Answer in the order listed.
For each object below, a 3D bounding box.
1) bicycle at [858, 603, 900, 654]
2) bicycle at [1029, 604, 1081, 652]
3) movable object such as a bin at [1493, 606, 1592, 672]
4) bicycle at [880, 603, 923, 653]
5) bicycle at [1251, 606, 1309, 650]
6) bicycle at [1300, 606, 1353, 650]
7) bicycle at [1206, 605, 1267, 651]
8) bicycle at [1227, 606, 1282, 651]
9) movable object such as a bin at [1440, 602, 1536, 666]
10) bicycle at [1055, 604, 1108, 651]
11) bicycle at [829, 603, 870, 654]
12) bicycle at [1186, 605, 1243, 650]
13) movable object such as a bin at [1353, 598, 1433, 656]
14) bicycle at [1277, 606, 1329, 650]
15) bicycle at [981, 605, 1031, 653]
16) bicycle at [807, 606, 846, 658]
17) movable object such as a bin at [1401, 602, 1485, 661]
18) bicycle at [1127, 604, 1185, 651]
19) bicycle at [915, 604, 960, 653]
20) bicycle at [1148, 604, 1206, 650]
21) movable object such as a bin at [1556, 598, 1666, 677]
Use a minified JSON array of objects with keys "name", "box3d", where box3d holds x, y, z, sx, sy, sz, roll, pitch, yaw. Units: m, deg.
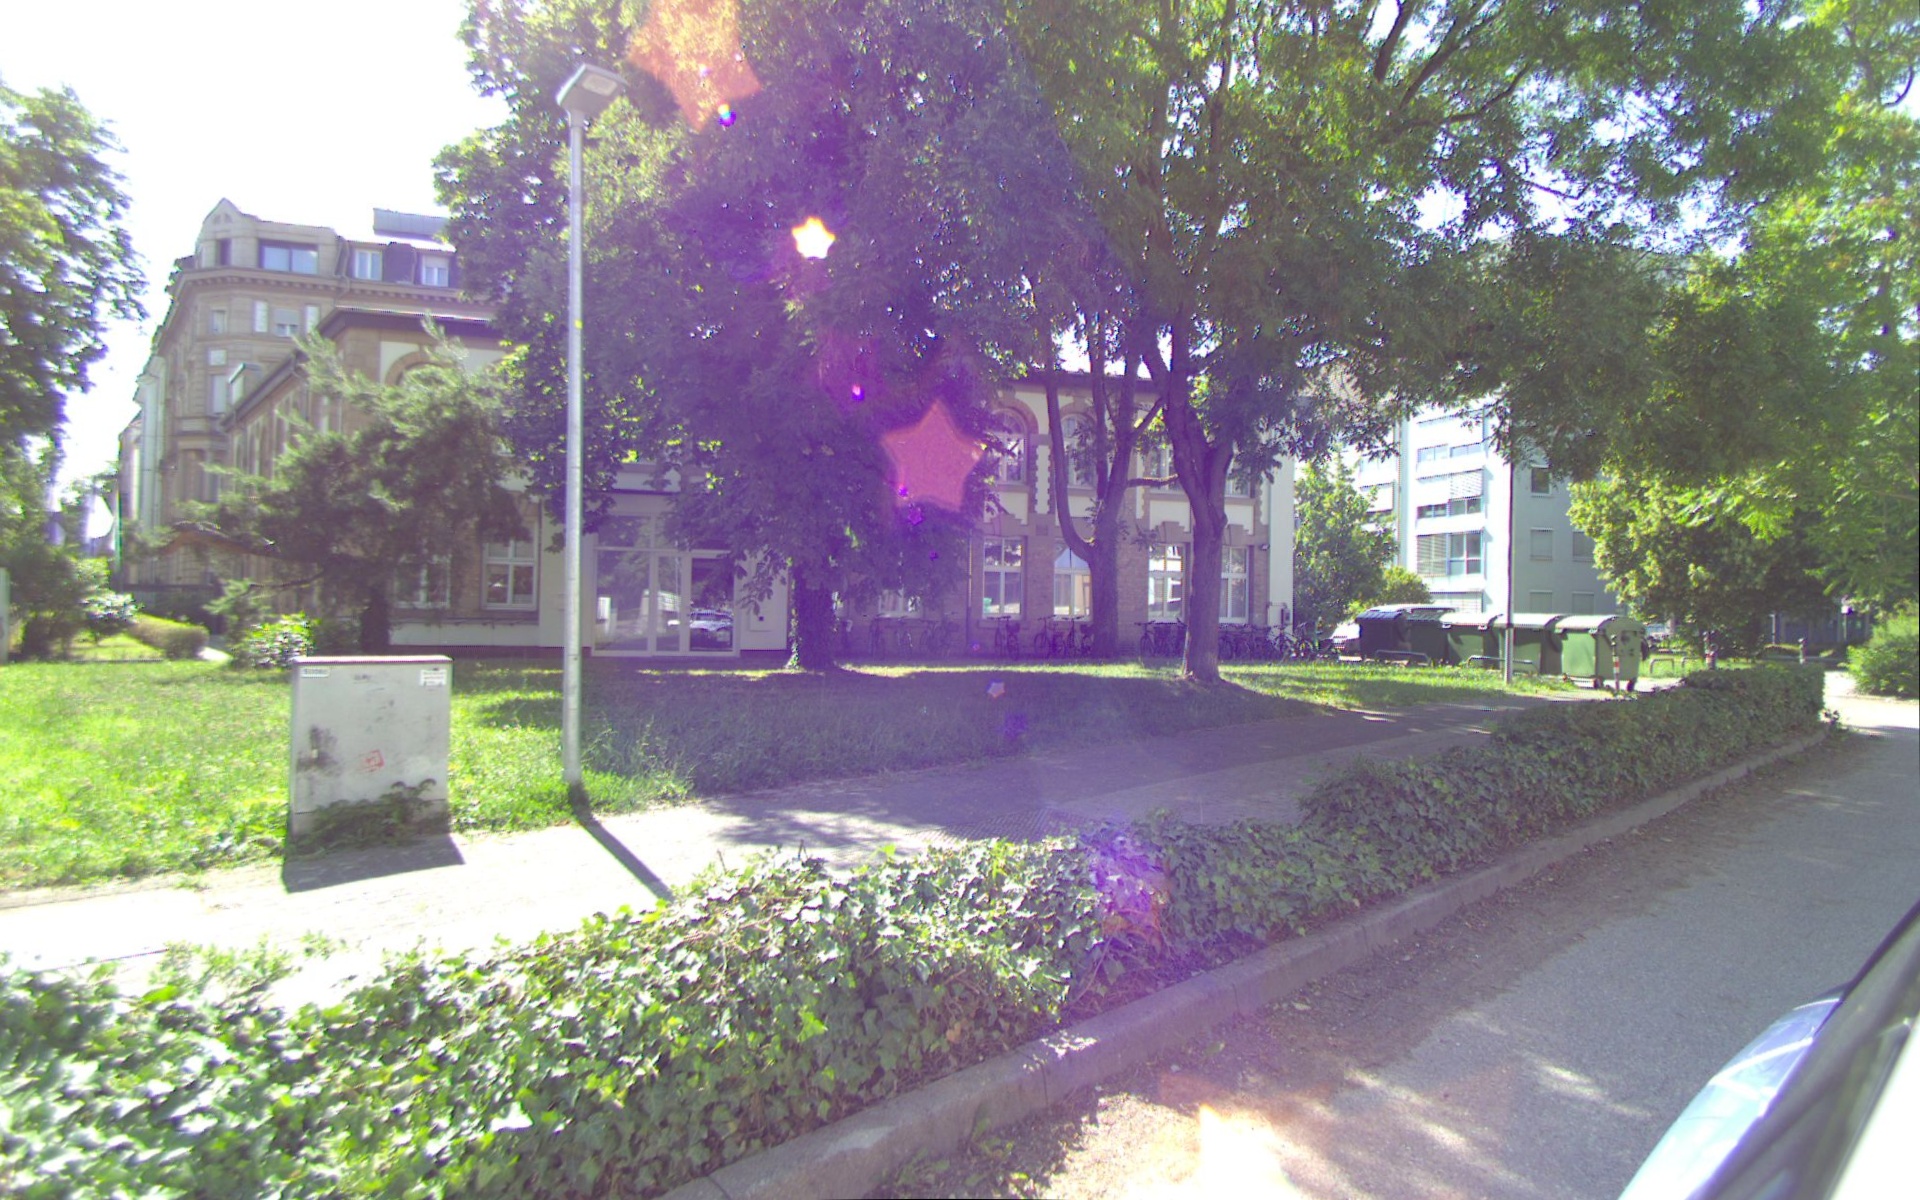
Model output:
[{"name":"bicycle","box3d":[-2.024,0.681,24.933,0.575,1.176,2.107,1,0,-17]},{"name":"bicycle","box3d":[2.437,0.714,26.229,0.575,1.176,2.107,1,0,-17]},{"name":"movable object such as a bin","box3d":[12.246,0.804,21.296,1.190,1.317,1.358,1,0,-20]},{"name":"bicycle","box3d":[-1.477,0.678,25.230,0.575,1.176,2.107,1,0,-17]},{"name":"bicycle","box3d":[8.875,0.752,28.134,0.600,1.176,1.855,1,0,-17]},{"name":"bicycle","box3d":[10.153,0.756,28.103,0.546,1.176,1.947,1,0,-7]},{"name":"bicycle","box3d":[7.540,0.746,27.694,0.575,1.176,2.107,1,0,-17]},{"name":"bicycle","box3d":[8.083,0.757,27.838,0.484,1.176,1.918,1,0,-17]},{"name":"movable object such as a bin","box3d":[11.832,0.745,22.728,1.190,1.379,1.505,1,0,-20]},{"name":"bicycle","box3d":[3.153,0.695,26.485,0.575,1.176,2.107,1,0,-17]},{"name":"bicycle","box3d":[-2.719,0.668,24.725,0.575,1.176,2.107,1,0,-17]},{"name":"bicycle","box3d":[6.860,0.729,27.412,0.575,1.176,1.926,1,0,-17]},{"name":"movable object such as a bin","box3d":[10.975,0.665,25.686,1.224,1.427,1.439,1,0,-21]},{"name":"bicycle","box3d":[9.526,0.754,28.171,0.496,1.176,1.808,1,0,-12]},{"name":"bicycle","box3d":[1.150,0.718,25.877,0.575,1.176,2.107,1,0,-17]},{"name":"bicycle","box3d":[-3.205,0.730,24.113,0.575,1.176,2.107,1,0,-17]},{"name":"movable object such as a bin","box3d":[11.534,0.741,24.211,1.190,1.366,1.355,1,0,-20]},{"name":"bicycle","box3d":[5.193,0.710,26.959,0.575,1.176,2.107,1,0,-17]},{"name":"bicycle","box3d":[-0.586,0.694,25.435,0.575,1.176,2.107,1,0,-17]},{"name":"bicycle","box3d":[5.804,0.712,27.204,0.575,1.176,2.107,1,0,-17]},{"name":"movable object such as a bin","box3d":[12.731,0.707,19.854,1.191,1.481,1.394,1,0,-5]}]
